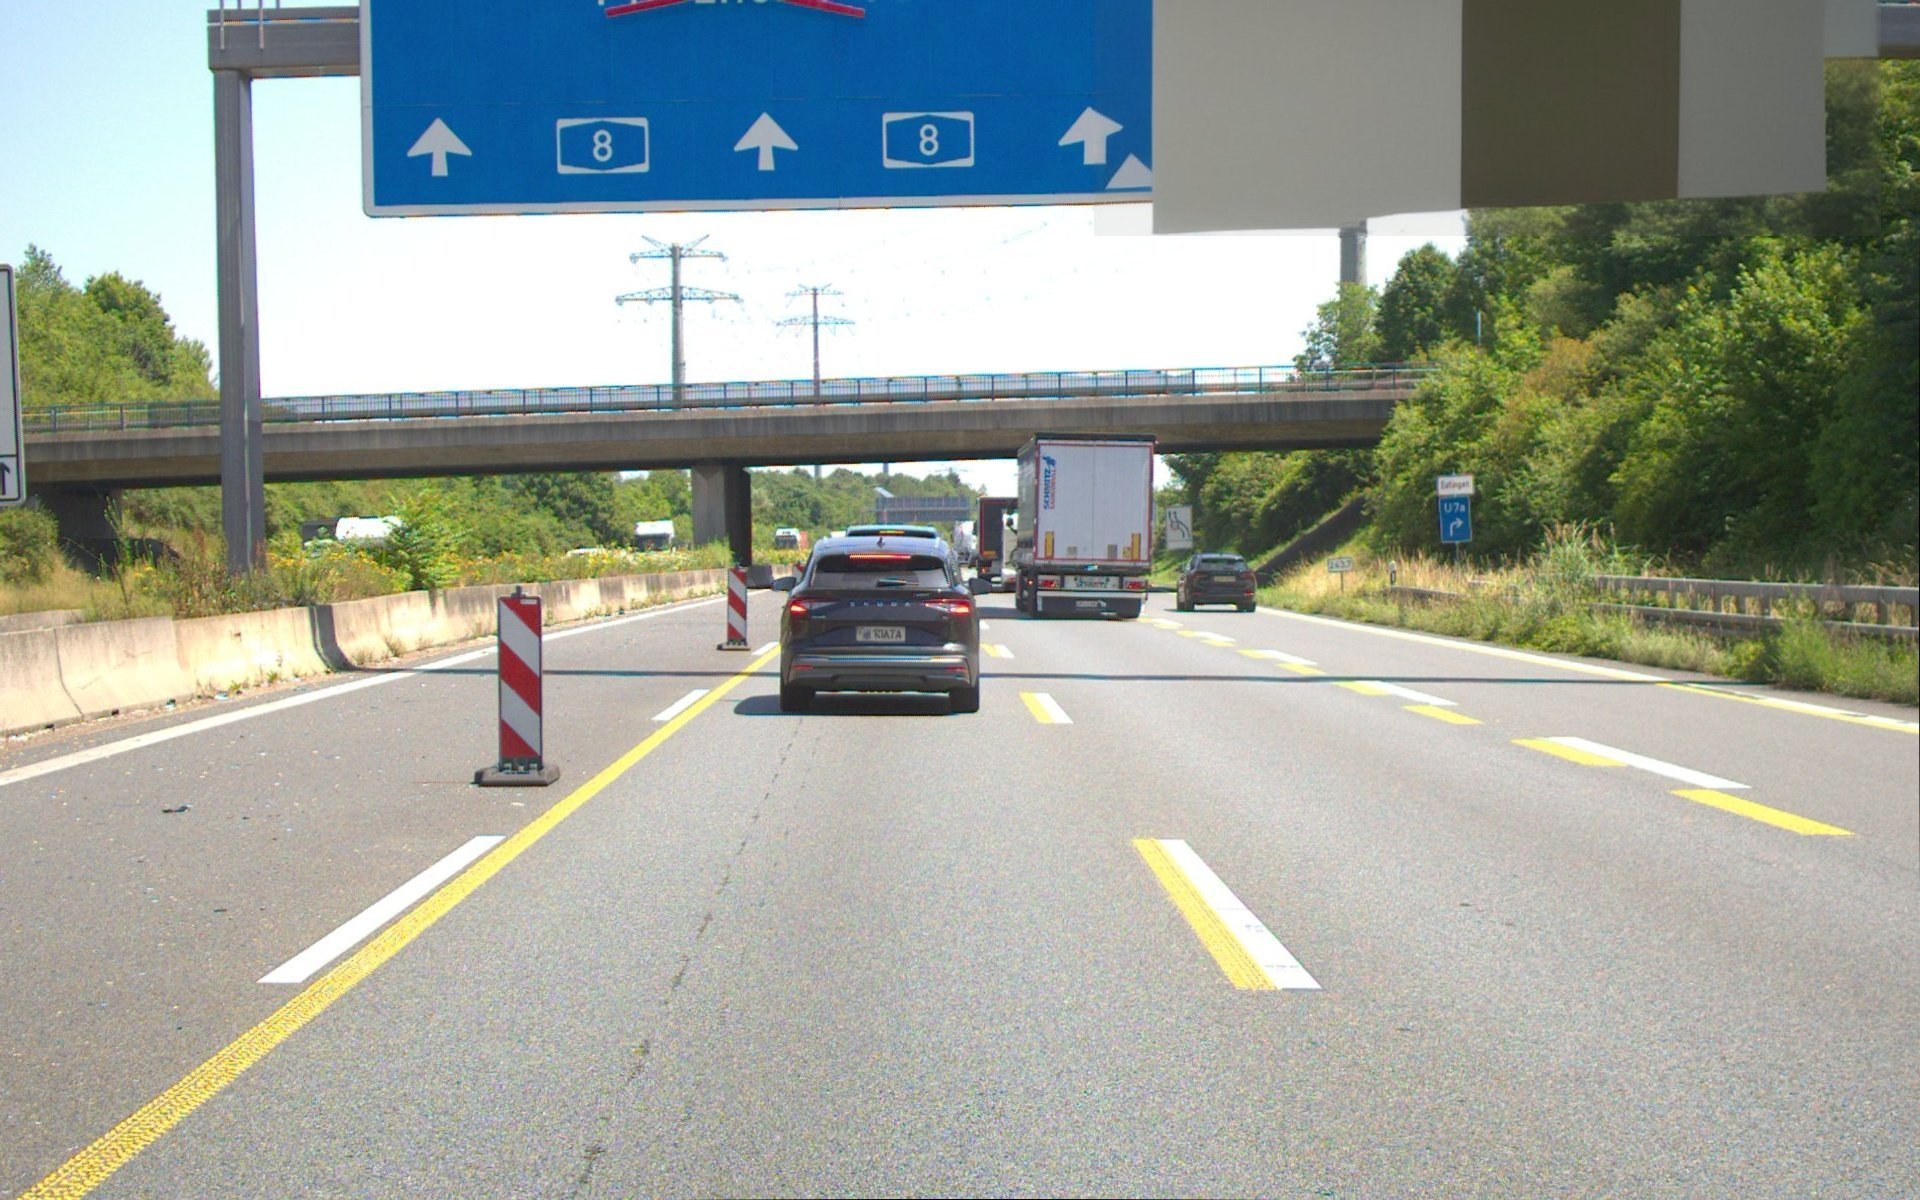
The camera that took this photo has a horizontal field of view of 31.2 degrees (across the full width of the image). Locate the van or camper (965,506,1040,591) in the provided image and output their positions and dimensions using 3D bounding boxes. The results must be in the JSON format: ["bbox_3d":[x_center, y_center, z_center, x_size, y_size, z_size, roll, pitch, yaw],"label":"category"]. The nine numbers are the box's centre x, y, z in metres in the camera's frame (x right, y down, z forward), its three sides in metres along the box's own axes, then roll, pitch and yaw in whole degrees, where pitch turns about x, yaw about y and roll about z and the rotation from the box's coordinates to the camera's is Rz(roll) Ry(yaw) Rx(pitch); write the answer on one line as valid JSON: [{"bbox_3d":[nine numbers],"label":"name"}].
[{"bbox_3d":[1.482,-1.863,123.134,2.586,2.958,6.085,1,1,0],"label":"van or camper"}]

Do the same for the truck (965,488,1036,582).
[{"bbox_3d":[1.839,-3.015,159.801,3.078,4.132,13.054,1,1,0],"label":"truck"}]

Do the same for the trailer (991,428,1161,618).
[{"bbox_3d":[2.533,-1.752,79.169,3.065,4.028,11.489,0,1,-2],"label":"trailer"}]

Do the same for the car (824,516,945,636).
[{"bbox_3d":[-1.292,-0.442,57.946,1.895,1.835,4.443,2,2,-2],"label":"car"}]

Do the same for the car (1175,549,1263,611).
[{"bbox_3d":[6.534,-0.526,87.013,1.779,1.484,4.464,1,1,-1],"label":"car"}]

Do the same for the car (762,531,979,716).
[{"bbox_3d":[-0.861,0.162,32.591,1.895,1.586,4.443,-1,1,-2],"label":"car"}]

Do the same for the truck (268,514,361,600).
[{"bbox_3d":[-25.255,-1.696,134.765,2.495,3.248,6.365,-1,1,-1],"label":"truck"}]

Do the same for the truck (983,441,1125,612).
[{"bbox_3d":[2.281,-1.828,85.975,3.024,4.073,7.796,0,1,-2],"label":"truck"}]

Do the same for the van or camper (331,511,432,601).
[{"bbox_3d":[-21.020,-1.627,125.251,2.435,3.136,7.627,-1,1,-1],"label":"van or camper"}]
